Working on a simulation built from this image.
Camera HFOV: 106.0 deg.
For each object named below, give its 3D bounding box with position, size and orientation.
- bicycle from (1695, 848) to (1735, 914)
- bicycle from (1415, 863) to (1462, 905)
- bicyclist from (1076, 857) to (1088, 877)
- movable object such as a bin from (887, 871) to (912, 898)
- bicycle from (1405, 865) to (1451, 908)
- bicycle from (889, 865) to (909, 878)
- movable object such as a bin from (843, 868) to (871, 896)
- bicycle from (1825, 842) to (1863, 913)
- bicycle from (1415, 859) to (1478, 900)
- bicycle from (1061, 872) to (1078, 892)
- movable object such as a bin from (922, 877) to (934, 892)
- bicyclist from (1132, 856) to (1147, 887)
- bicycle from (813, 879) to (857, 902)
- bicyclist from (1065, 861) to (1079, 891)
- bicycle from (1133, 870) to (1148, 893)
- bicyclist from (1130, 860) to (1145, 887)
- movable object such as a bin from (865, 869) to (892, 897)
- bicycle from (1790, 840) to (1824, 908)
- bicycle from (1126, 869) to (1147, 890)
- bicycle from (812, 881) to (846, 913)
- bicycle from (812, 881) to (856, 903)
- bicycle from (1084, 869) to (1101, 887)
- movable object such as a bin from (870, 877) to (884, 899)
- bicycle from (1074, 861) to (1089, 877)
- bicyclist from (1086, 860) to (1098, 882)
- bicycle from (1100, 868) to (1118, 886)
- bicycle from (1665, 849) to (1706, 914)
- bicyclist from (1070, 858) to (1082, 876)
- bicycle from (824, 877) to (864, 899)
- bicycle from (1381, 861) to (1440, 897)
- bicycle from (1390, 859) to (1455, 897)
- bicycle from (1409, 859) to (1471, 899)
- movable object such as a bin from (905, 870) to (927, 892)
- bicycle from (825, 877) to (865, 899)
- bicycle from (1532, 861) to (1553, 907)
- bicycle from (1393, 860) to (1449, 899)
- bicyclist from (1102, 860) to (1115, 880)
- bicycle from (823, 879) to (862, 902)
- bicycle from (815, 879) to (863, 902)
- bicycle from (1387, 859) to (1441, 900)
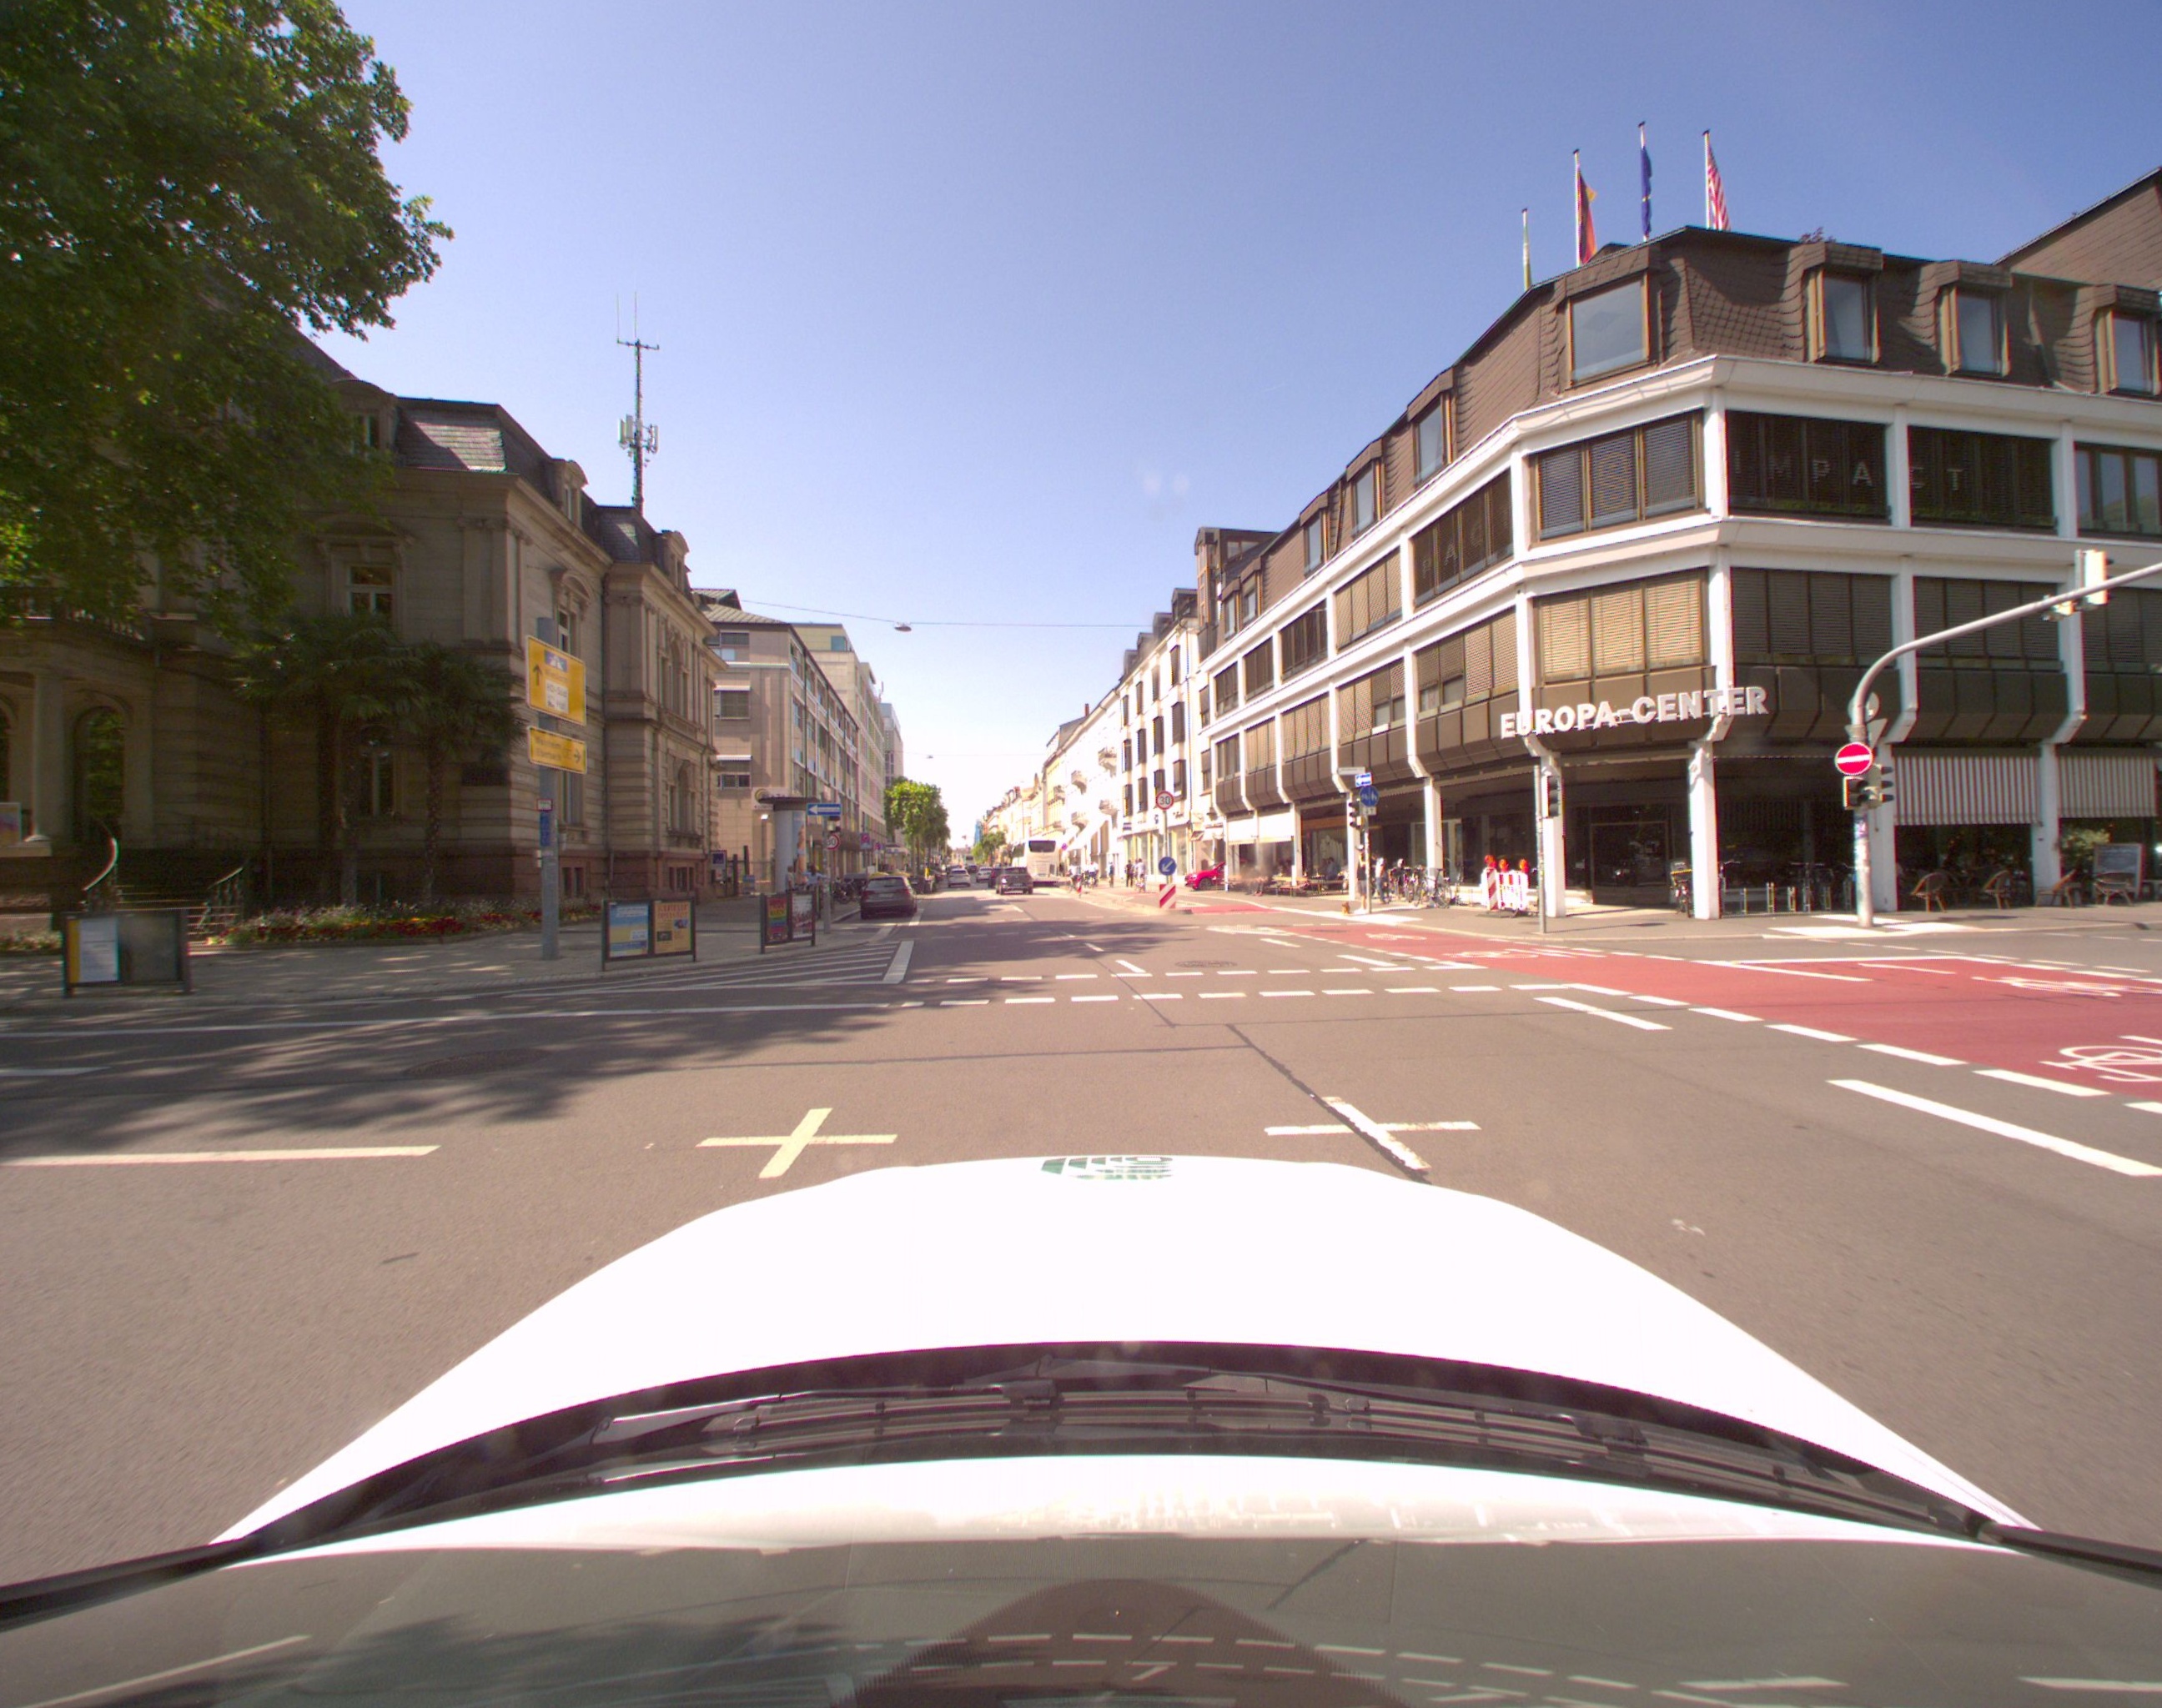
[{"bbox_3d":[13.883,0.565,17.804,0.524,1.316,1.871,-2,0,42],"label":"bicycle"},{"bbox_3d":[10.161,0.821,23.195,0.276,1.120,2.242,-2,0,-1],"label":"bicycle"},{"bbox_3d":[0.067,0.894,56.412,0.620,1.371,0.777,-1,-1,-11],"label":"bicyclist"},{"bbox_3d":[-9.873,1.654,44.362,1.121,1.451,1.437,0,0,-4],"label":"movable object such as a bin"},{"bbox_3d":[9.792,0.887,23.081,0.276,1.120,2.242,-2,0,-1],"label":"bicycle"},{"bbox_3d":[-19.596,1.888,87.533,2.069,1.288,0.365,1,-2,-17],"label":"bicycle"},{"bbox_3d":[-12.164,1.505,44.314,1.206,1.451,1.362,0,0,-4],"label":"movable object such as a bin"},{"bbox_3d":[16.670,0.485,17.819,0.524,1.422,1.979,-2,0,42],"label":"bicycle"},{"bbox_3d":[10.795,0.753,24.036,1.713,1.120,0.277,-3,-1,-3],"label":"bicycle"},{"bbox_3d":[-0.667,1.621,47.433,0.664,1.120,2.236,0,0,-9],"label":"bicycle"},{"bbox_3d":[-9.878,1.977,52.665,0.558,0.939,0.495,-3,0,-35],"label":"movable object such as a bin"},{"bbox_3d":[3.078,0.909,42.843,0.692,1.625,0.836,-2,-1,1],"label":"bicyclist"},{"bbox_3d":[-11.803,1.748,39.051,1.966,1.120,0.553,1,-2,-21],"label":"bicycle"},{"bbox_3d":[-0.529,1.274,47.301,0.694,1.673,0.913,1,0,-8],"label":"bicyclist"},{"bbox_3d":[3.132,1.440,43.046,0.593,1.120,1.800,-2,0,-1],"label":"bicycle"},{"bbox_3d":[3.158,1.093,45.652,0.620,1.529,0.866,-1,-1,-11],"label":"bicyclist"},{"bbox_3d":[-10.996,1.561,44.276,1.121,1.451,1.437,0,0,-4],"label":"movable object such as a bin"},{"bbox_3d":[16.506,0.427,18.518,0.524,1.422,1.979,-2,0,42],"label":"bicycle"},{"bbox_3d":[3.113,1.420,45.909,0.620,1.099,2.344,-1,-1,-11],"label":"bicycle"},{"bbox_3d":[-8.952,1.510,28.974,0.428,1.120,2.244,0,-2,2],"label":"bicycle"},{"bbox_3d":[-11.626,1.776,38.351,1.969,1.017,0.666,1,-2,-21],"label":"bicycle"},{"bbox_3d":[0.719,1.511,51.619,0.620,1.099,2.344,-1,-1,-11],"label":"bicycle"},{"bbox_3d":[-10.717,1.768,42.784,0.724,1.098,0.653,0,0,-17],"label":"movable object such as a bin"},{"bbox_3d":[0.026,1.043,56.689,0.620,1.099,2.344,-1,-1,-11],"label":"bicycle"},{"bbox_3d":[0.707,1.089,51.627,0.620,1.371,0.777,-1,-1,-11],"label":"bicyclist"},{"bbox_3d":[1.794,1.483,52.538,0.620,1.099,2.344,-1,-1,-11],"label":"bicycle"},{"bbox_3d":[13.459,0.591,18.107,0.524,1.316,1.979,-2,0,42],"label":"bicycle"},{"bbox_3d":[-0.374,1.046,63.999,0.787,1.379,0.720,-1,-1,-11],"label":"bicyclist"},{"bbox_3d":[-12.389,1.794,42.624,1.976,1.120,0.507,1,-2,-13],"label":"bicycle"},{"bbox_3d":[10.792,0.792,26.641,2.245,1.097,0.275,-1,-1,-23],"label":"bicycle"},{"bbox_3d":[10.923,0.761,26.039,2.241,1.120,0.276,-1,-1,-17],"label":"bicycle"},{"bbox_3d":[10.775,0.744,24.432,1.713,1.120,0.277,-3,-1,-3],"label":"bicycle"},{"bbox_3d":[-10.335,1.692,51.077,1.277,1.299,0.850,-1,-1,-10],"label":"movable object such as a bin"},{"bbox_3d":[-12.504,1.777,43.212,1.969,1.120,0.507,0,-2,-13],"label":"bicycle"},{"bbox_3d":[11.329,0.720,20.023,0.305,1.065,1.480,-3,0,26],"label":"bicycle"},{"bbox_3d":[10.386,0.776,24.899,1.567,1.120,0.277,-3,-1,-3],"label":"bicycle"},{"bbox_3d":[1.763,1.024,52.658,0.620,1.296,0.863,-1,-1,-11],"label":"bicyclist"},{"bbox_3d":[-12.278,1.856,41.908,1.845,1.073,0.554,-2,-3,-13],"label":"bicycle"},{"bbox_3d":[-11.796,1.760,39.716,2.244,1.120,0.553,1,-2,-21],"label":"bicycle"},{"bbox_3d":[10.334,0.784,25.262,1.542,1.207,0.277,-1,-1,-3],"label":"bicycle"}]
